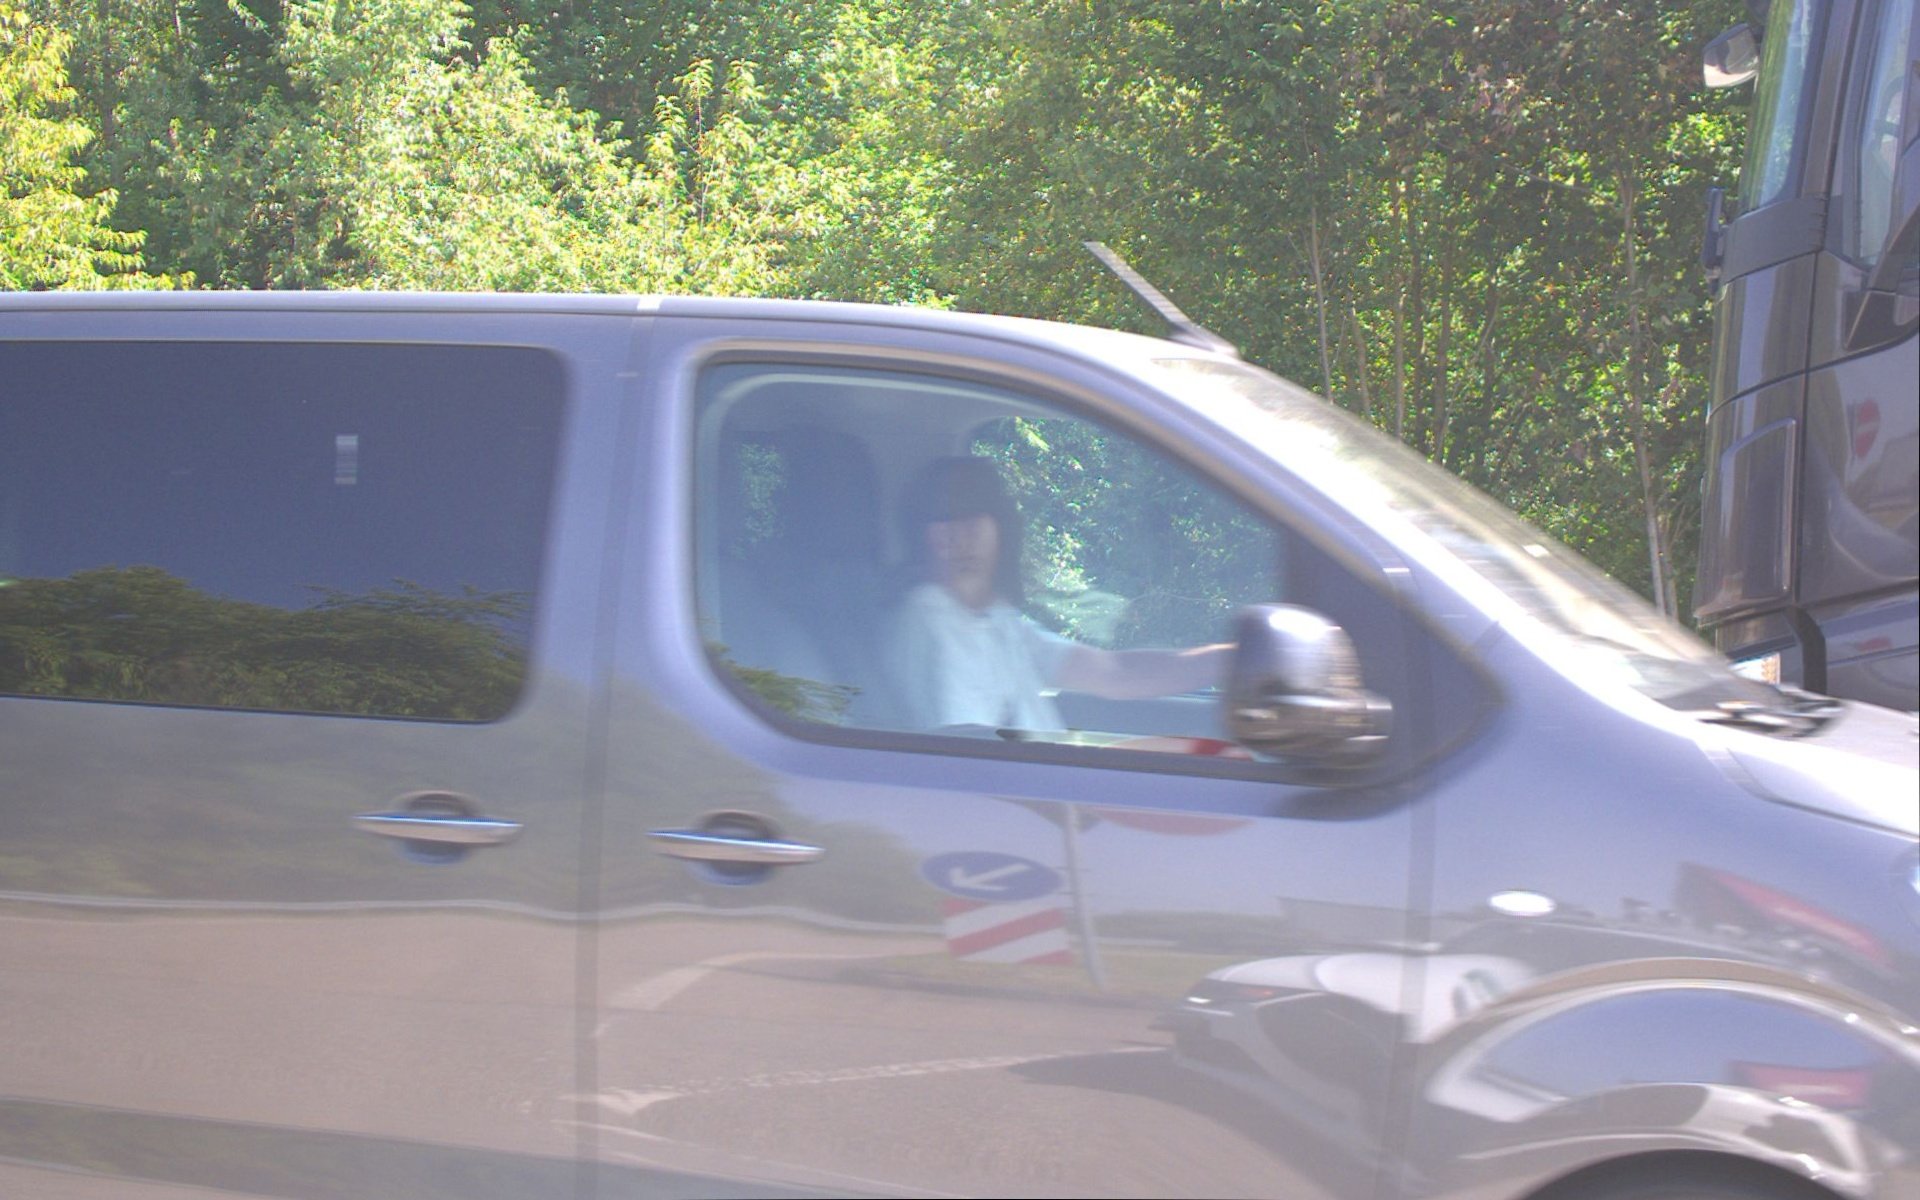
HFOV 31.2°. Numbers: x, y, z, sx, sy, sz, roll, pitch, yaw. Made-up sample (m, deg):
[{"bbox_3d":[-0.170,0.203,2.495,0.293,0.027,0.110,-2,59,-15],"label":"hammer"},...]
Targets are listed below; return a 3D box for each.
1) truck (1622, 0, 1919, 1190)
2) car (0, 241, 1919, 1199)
[{"bbox_3d":[4.795,-0.754,8.363,5.956,4.159,2.878,1,1,17],"label":"truck"},{"bbox_3d":[-0.346,0.465,5.657,4.981,1.873,1.999,0,1,16],"label":"car"}]
